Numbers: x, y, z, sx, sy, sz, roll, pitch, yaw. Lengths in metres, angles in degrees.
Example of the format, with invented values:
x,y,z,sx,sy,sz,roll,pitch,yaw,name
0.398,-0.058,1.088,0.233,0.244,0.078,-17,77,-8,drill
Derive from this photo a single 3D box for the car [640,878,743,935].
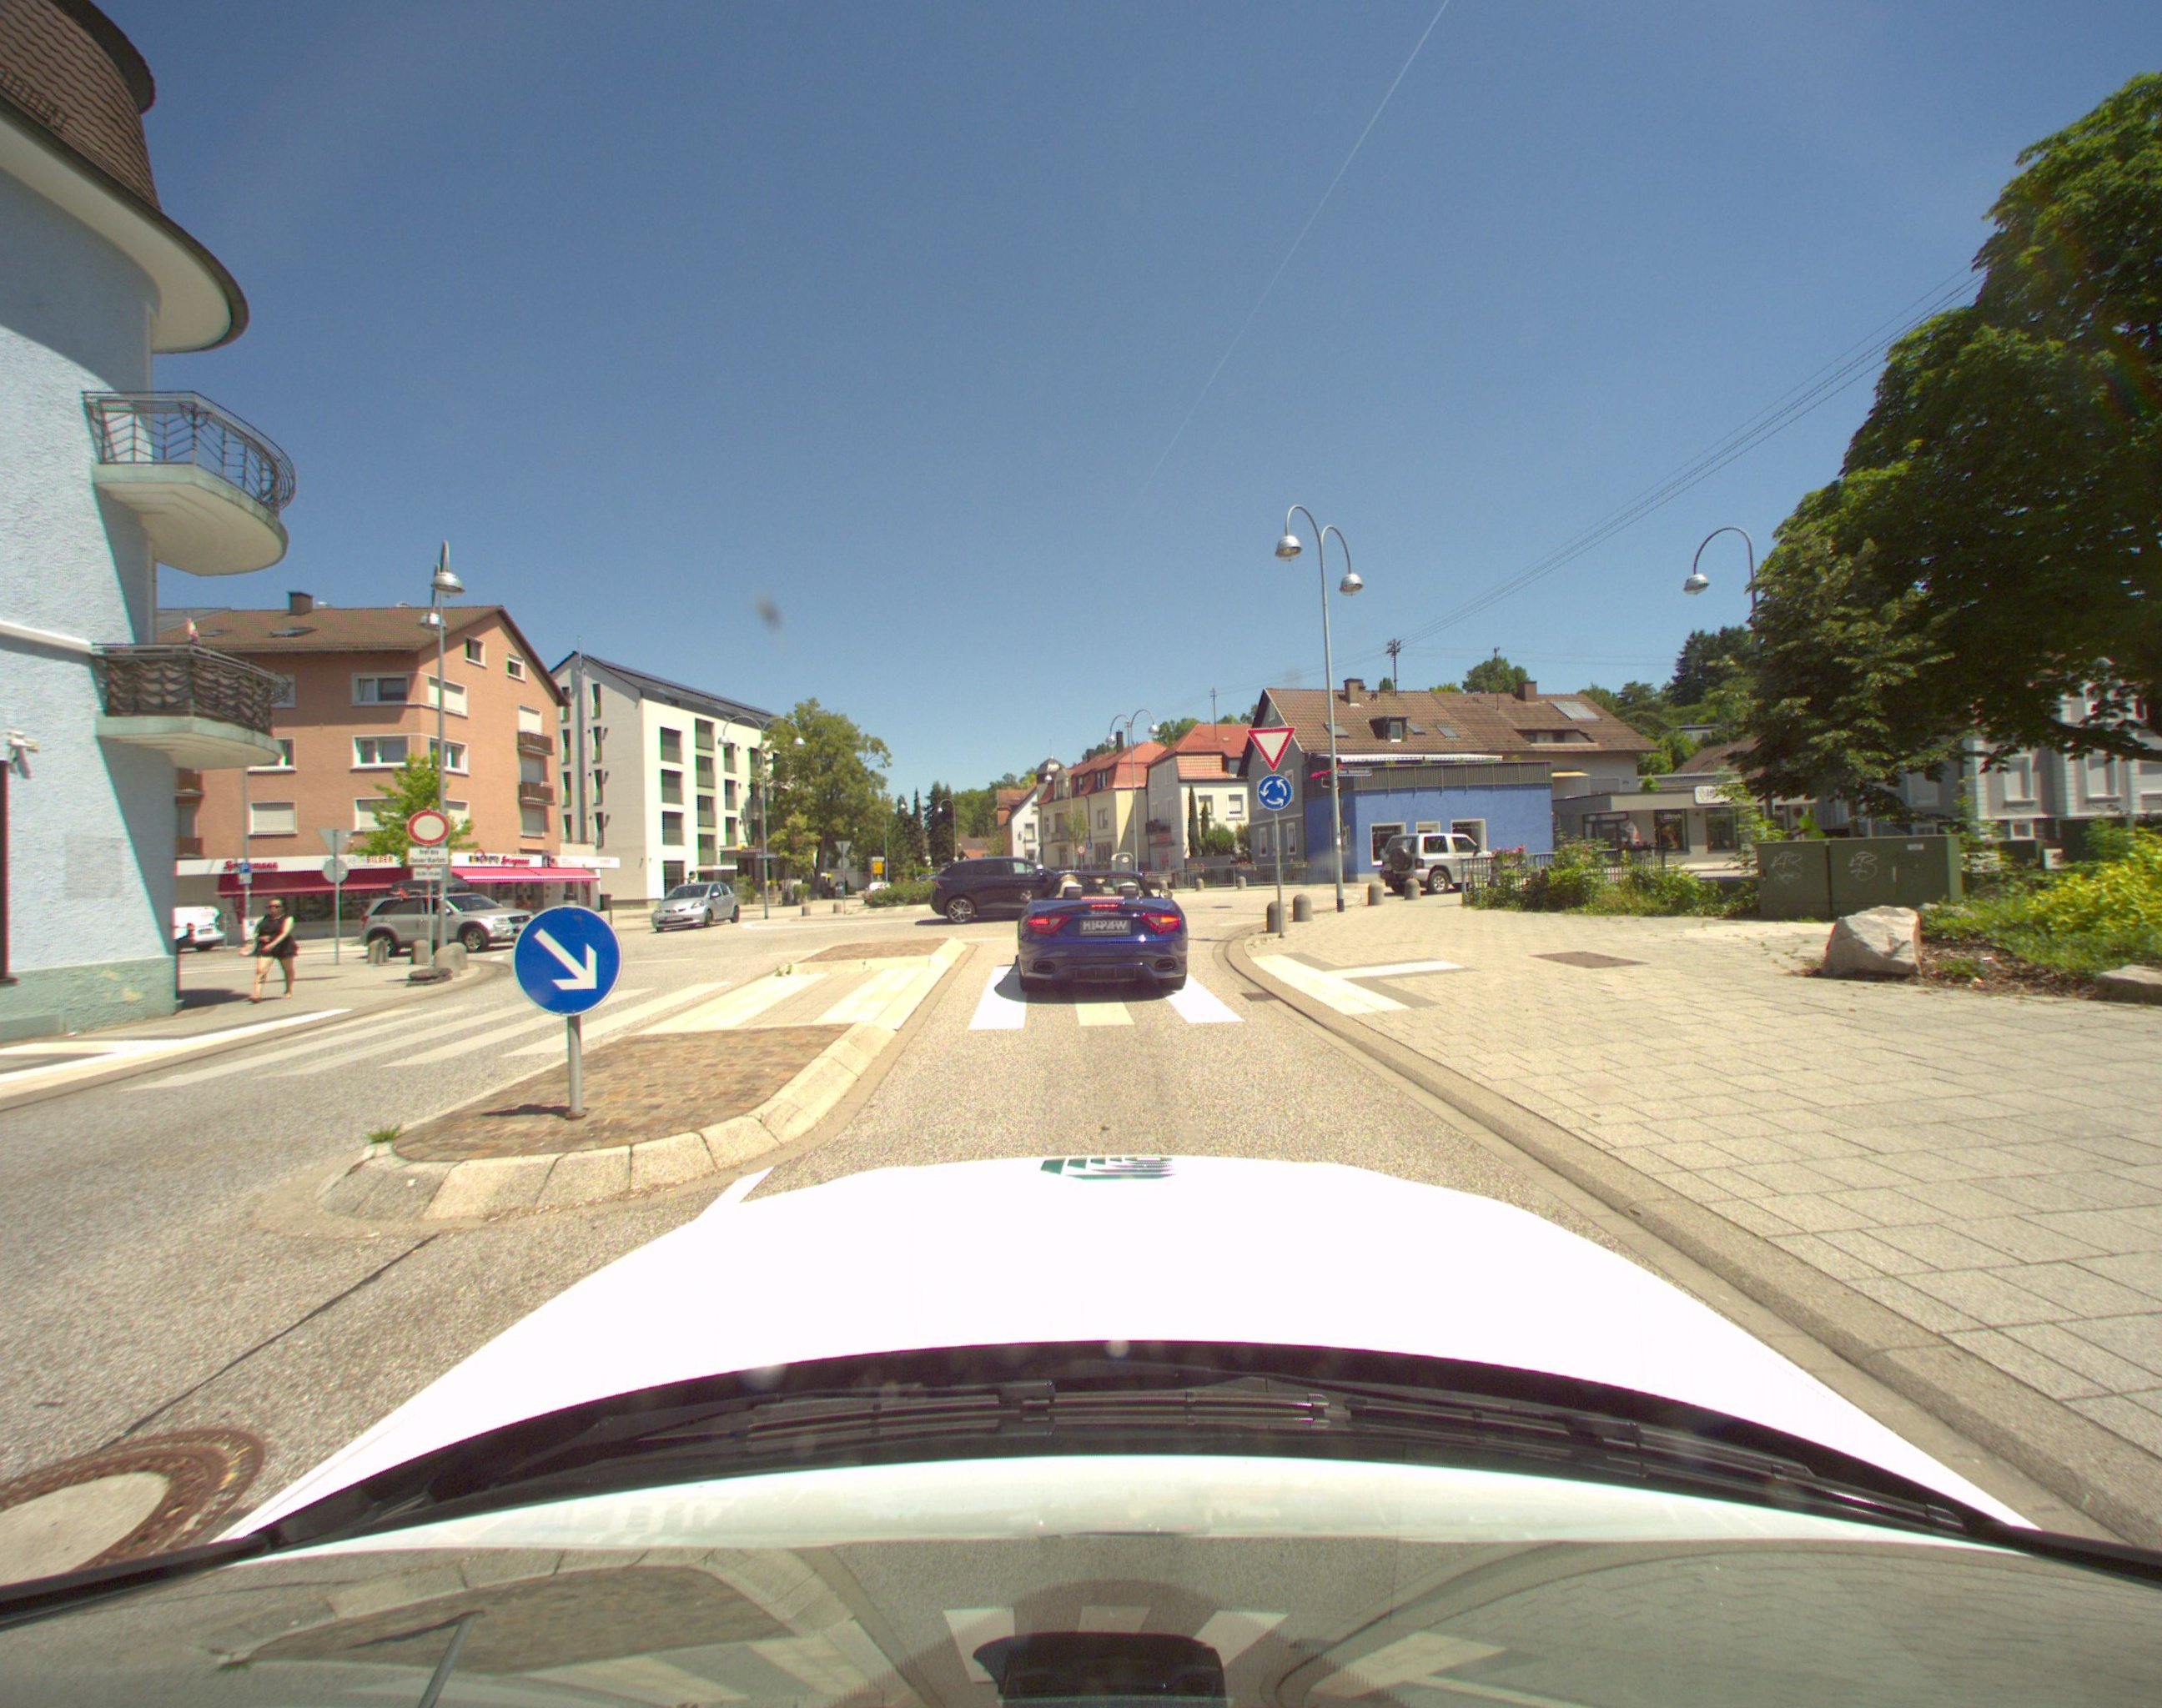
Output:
x,y,z,sx,sy,sz,roll,pitch,yaw,name
-12.283,1.613,25.894,1.571,1.450,3.467,-5,0,-2,car

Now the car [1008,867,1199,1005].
x,y,z,sx,sy,sz,roll,pitch,yaw,name
0.314,0.870,10.419,1.903,1.360,4.287,-2,-1,2,car

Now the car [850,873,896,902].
x,y,z,sx,sy,sz,roll,pitch,yaw,name
-12.235,1.962,48.168,1.992,1.509,3.990,-4,-1,-7,car

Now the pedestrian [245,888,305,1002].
x,y,z,sx,sy,sz,roll,pitch,yaw,name
-11.756,1.307,11.878,0.508,1.585,0.550,-4,-1,42,pedestrian

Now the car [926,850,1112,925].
x,y,z,sx,sy,sz,roll,pitch,yaw,name
-1.495,0.763,19.832,4.244,1.547,1.807,-2,0,-6,car

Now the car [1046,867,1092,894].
x,y,z,sx,sy,sz,roll,pitch,yaw,name
-0.865,1.837,55.707,1.924,1.613,4.120,-3,-2,-19,car

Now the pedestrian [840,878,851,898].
x,y,z,sx,sy,sz,roll,pitch,yaw,name
-19.327,2.807,66.812,0.531,1.576,0.564,-3,-1,11,pedestrian

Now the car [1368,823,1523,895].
x,y,z,sx,sy,sz,roll,pitch,yaw,name
11.038,0.140,24.656,4.234,1.875,1.750,-3,-1,-22,car

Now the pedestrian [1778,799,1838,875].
x,y,z,sx,sy,sz,roll,pitch,yaw,name
17.964,-0.422,20.132,0.736,1.799,0.679,-4,0,-7,pedestrian

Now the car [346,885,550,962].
x,y,z,sx,sy,sz,roll,pitch,yaw,name
-17.566,1.908,22.720,4.171,1.688,1.840,-4,1,3,car

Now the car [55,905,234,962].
x,y,z,sx,sy,sz,roll,pitch,yaw,name
-34.920,2.929,30.495,3.995,1.750,1.792,-3,-1,-16,car
